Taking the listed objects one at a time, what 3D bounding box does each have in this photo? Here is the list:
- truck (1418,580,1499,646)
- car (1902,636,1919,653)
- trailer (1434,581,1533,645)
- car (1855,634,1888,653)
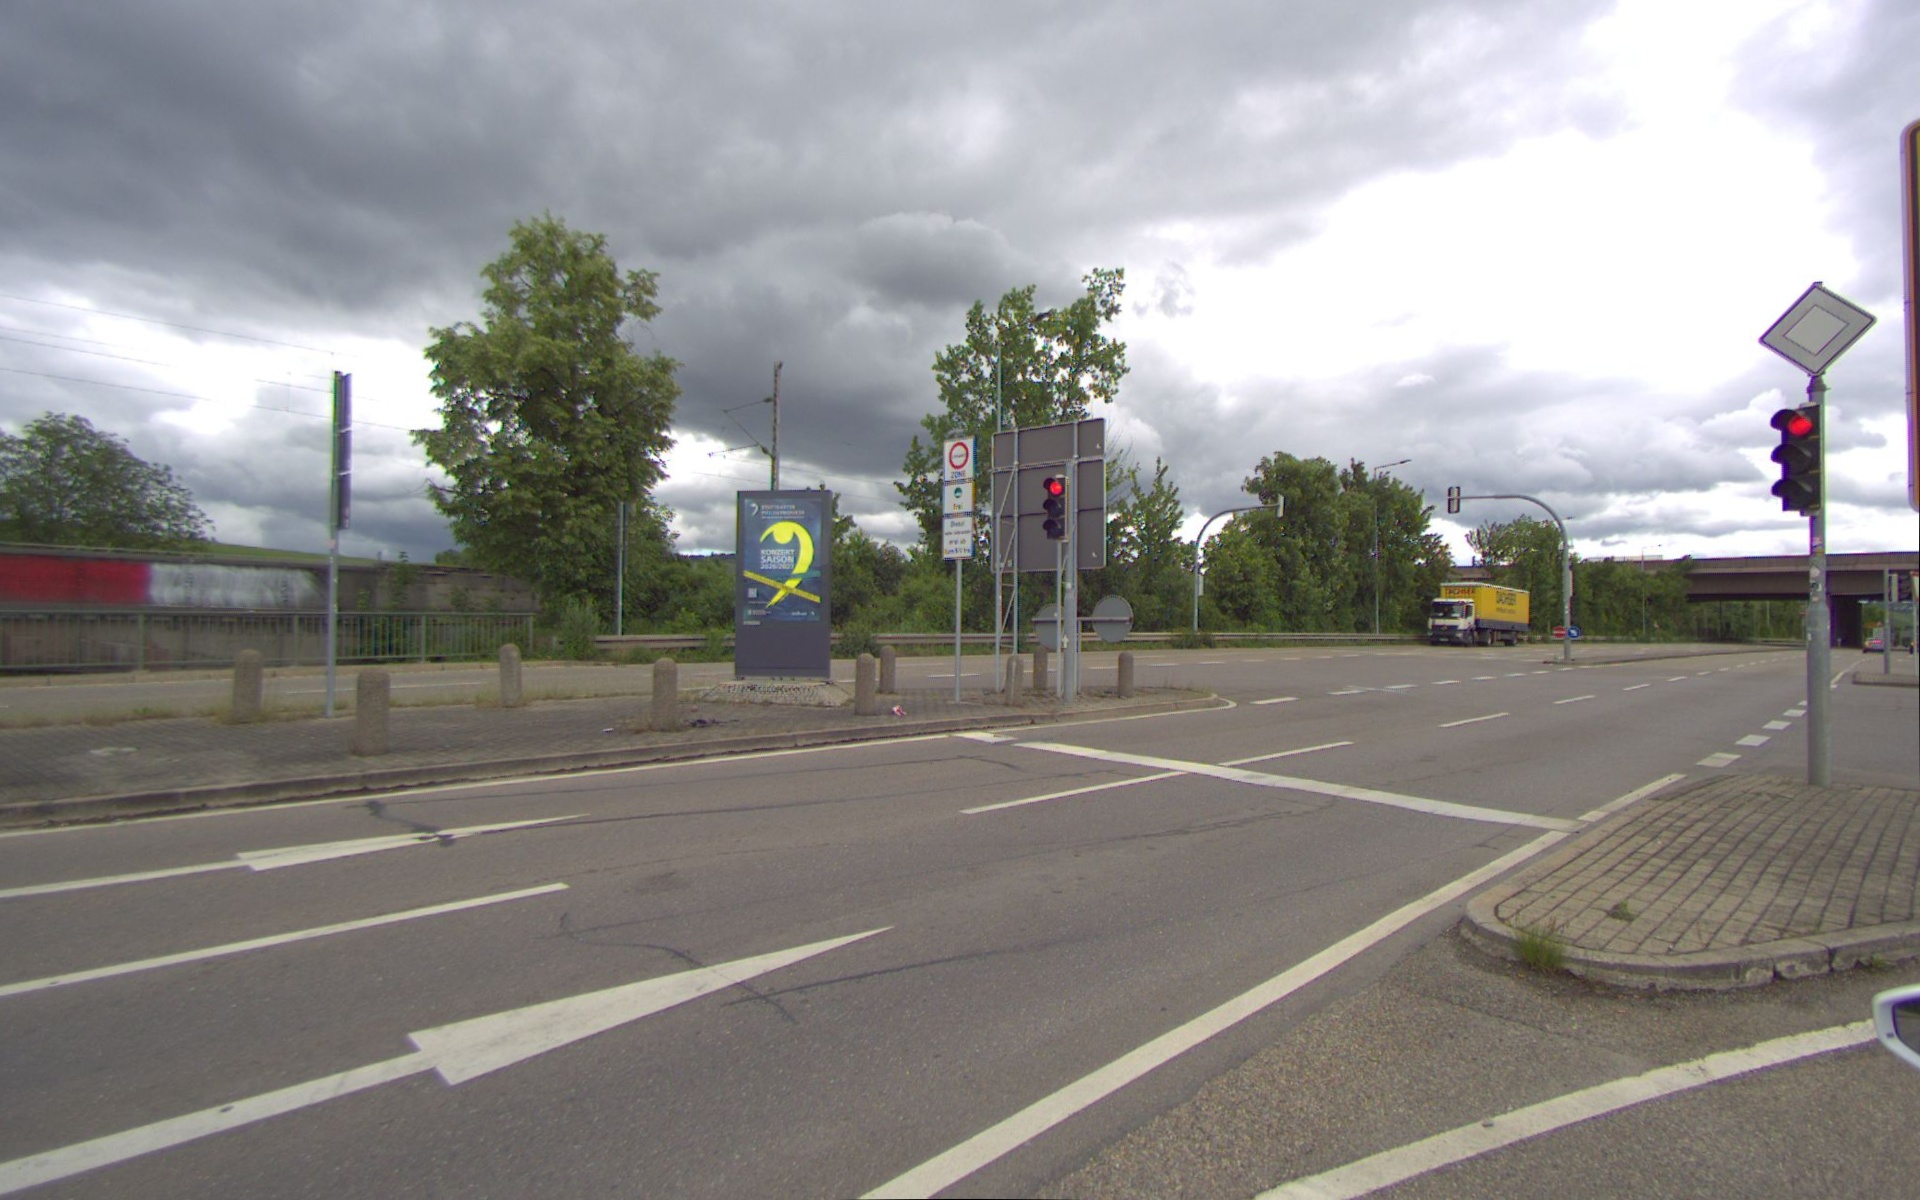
[{"bbox_3d":[33.138,0.825,66.686,2.842,4.139,6.445,3,1,45],"label":"truck"},{"bbox_3d":[91.347,4.250,95.764,4.083,1.483,1.974,4,-2,-44],"label":"car"},{"bbox_3d":[36.943,0.915,70.616,2.842,4.139,11.353,3,1,45],"label":"trailer"},{"bbox_3d":[81.594,3.895,89.887,1.973,1.461,4.085,1,-2,45],"label":"car"}]
